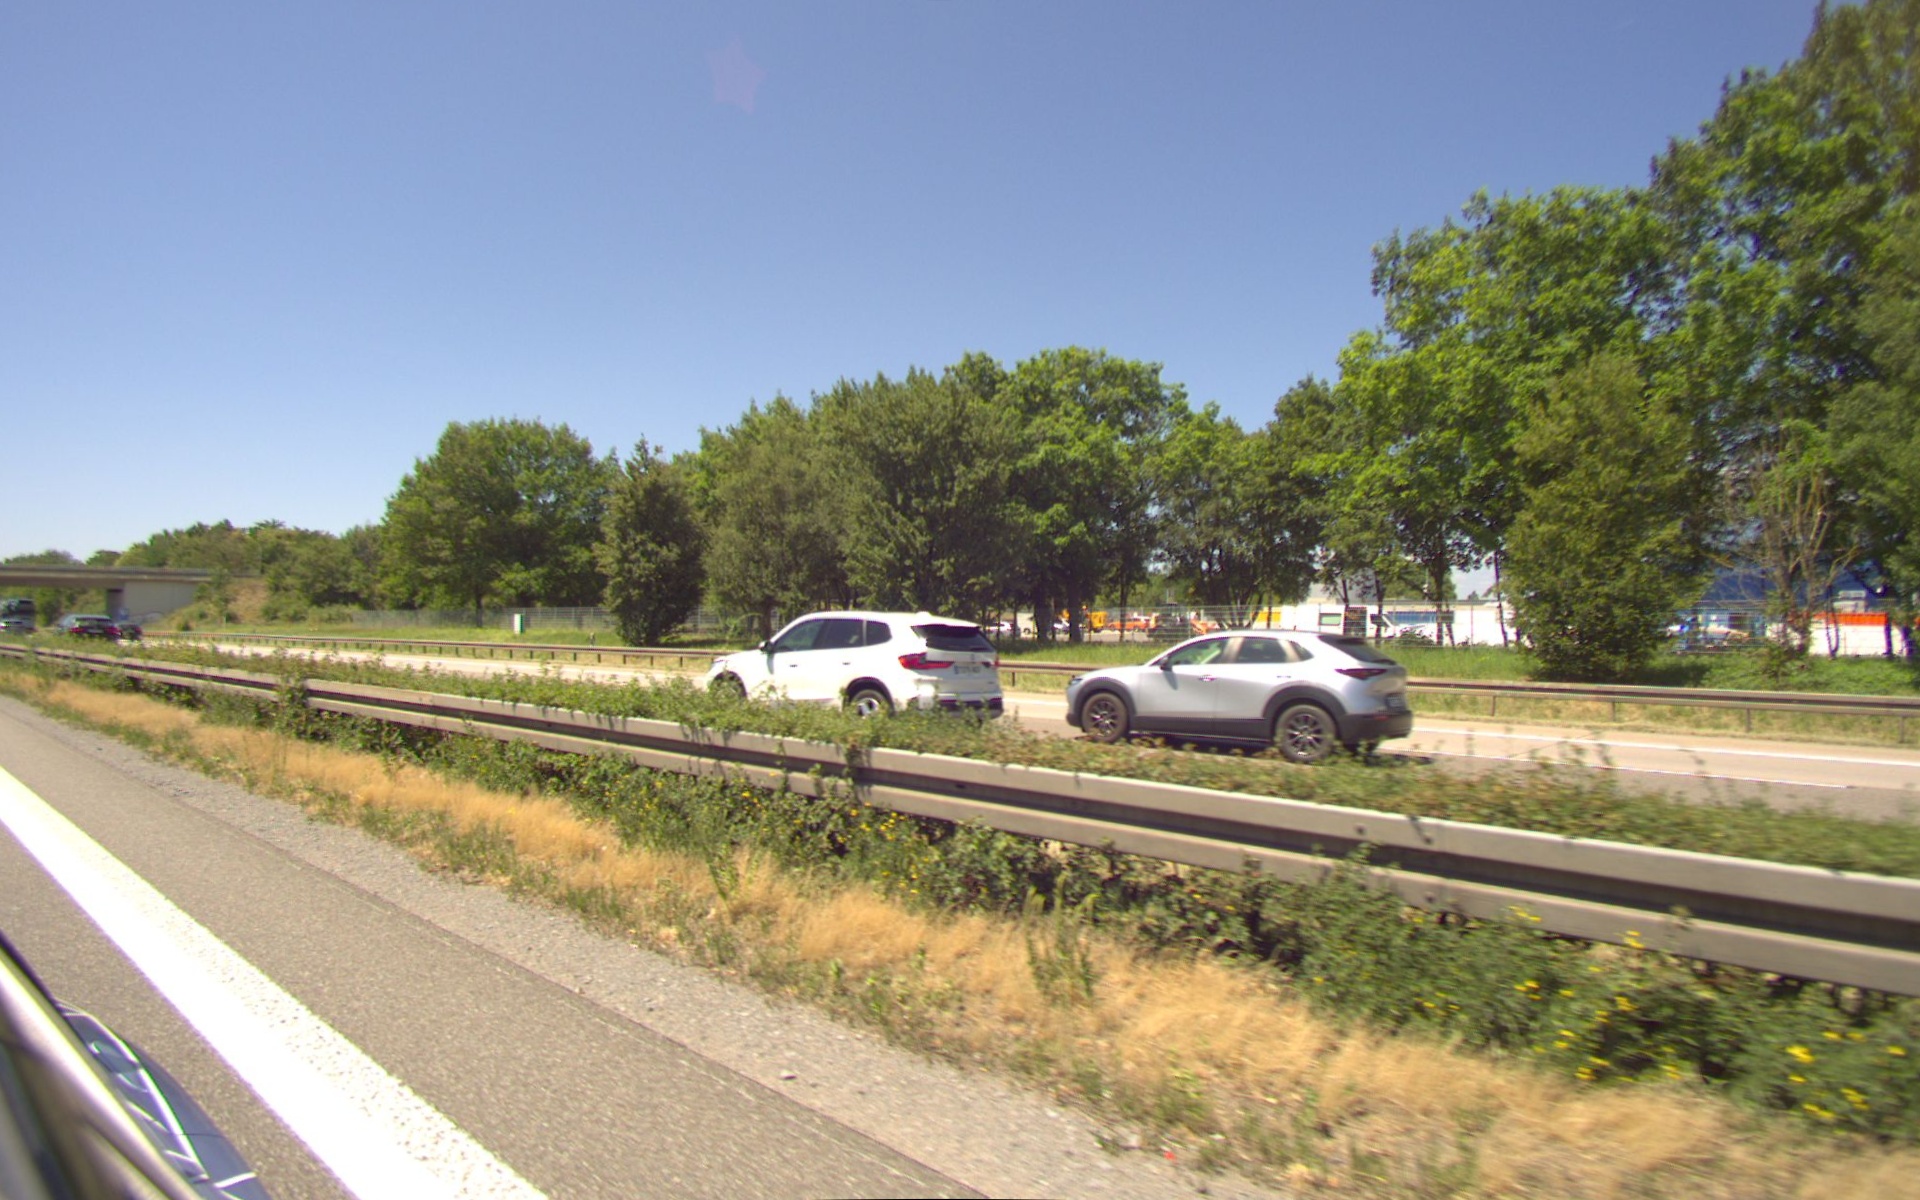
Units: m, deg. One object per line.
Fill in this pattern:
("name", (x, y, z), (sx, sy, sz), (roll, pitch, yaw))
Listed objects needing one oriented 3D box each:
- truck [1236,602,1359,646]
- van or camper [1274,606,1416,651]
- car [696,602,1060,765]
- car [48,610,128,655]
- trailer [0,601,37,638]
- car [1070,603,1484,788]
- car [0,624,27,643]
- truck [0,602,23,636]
("truck", (25.973, 1.888, 78.148), (8.292, 3.216, 3.512), (-1, -3, 41))
("van or camper", (23.106, 1.710, 61.024), (7.718, 2.571, 2.333), (-1, -2, 40))
("car", (-1.181, 0.903, 12.846), (4.570, 1.652, 1.973), (-1, 0, 41))
("car", (-39.950, 1.440, 46.300), (5.645, 1.900, 1.973), (-1, 0, 41))
("trailer", (-113.940, 2.350, 121.056), (17.461, 4.009, 2.849), (-1, -4, 40))
("car", (3.696, 0.981, 12.282), (4.422, 1.807, 1.853), (-1, 0, 41))
("car", (-83.356, 2.948, 88.710), (4.208, 1.590, 1.774), (-1, -2, 40))
("truck", (-118.693, 2.393, 125.324), (7.367, 4.006, 2.849), (-1, -4, 40))
